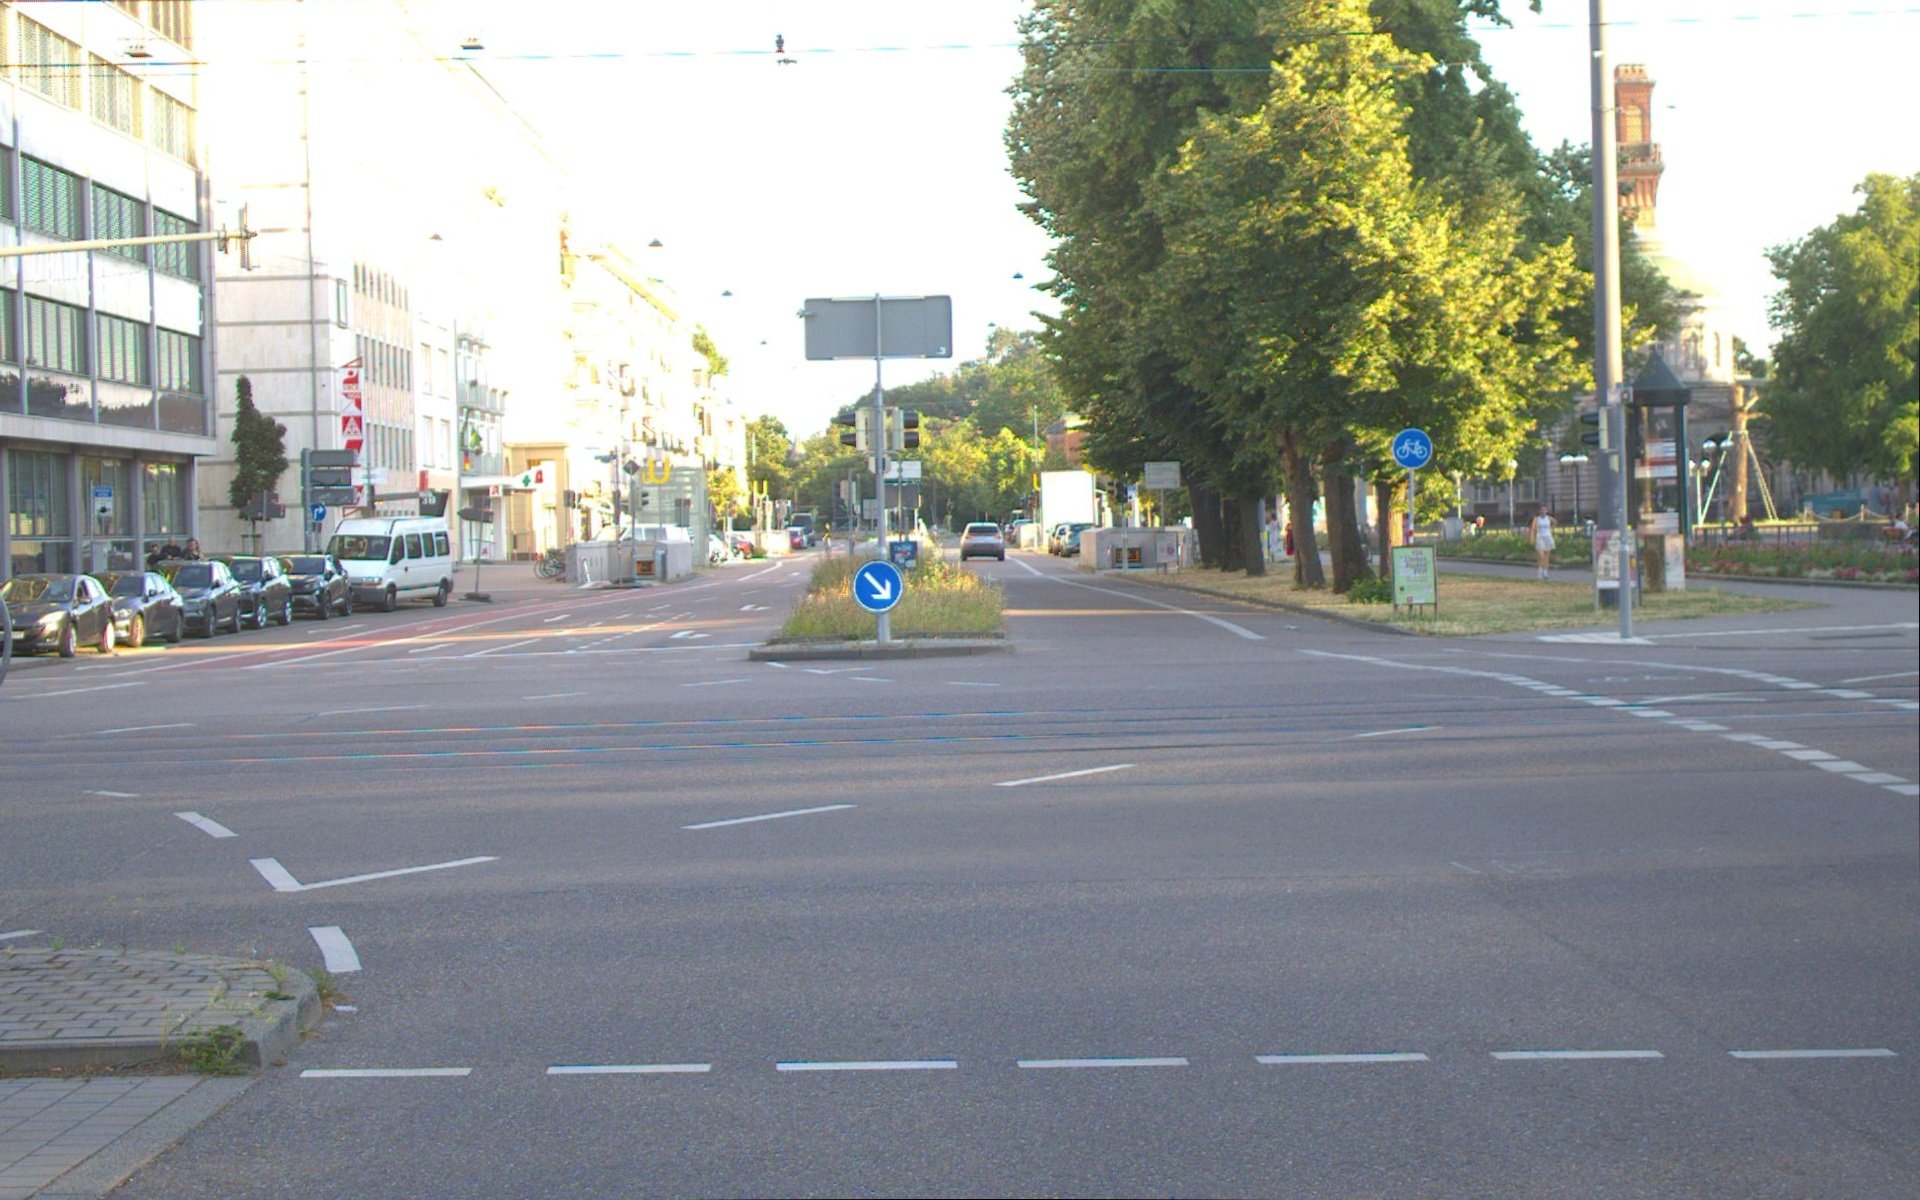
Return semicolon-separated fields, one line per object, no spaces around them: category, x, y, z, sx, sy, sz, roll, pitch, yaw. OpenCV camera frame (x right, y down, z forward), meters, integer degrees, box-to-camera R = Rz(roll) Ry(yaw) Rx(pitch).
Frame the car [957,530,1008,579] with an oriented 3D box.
car;0.934;-1.952;146.455;1.993;2.007;4.000;-2;1;-1

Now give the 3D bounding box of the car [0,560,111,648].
car;-16.699;0.093;62.063;1.796;1.470;4.000;-1;-1;-1

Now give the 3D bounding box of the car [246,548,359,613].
car;-16.223;-0.462;84.982;1.796;1.470;3.999;-2;-1;3

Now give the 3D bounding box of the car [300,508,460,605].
car;-15.394;-1.114;91.569;2.177;2.377;5.986;-2;-1;11

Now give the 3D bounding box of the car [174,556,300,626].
car;-16.494;-0.190;78.584;1.796;1.470;3.999;-2;-1;3

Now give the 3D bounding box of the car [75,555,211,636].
car;-16.201;-0.067;68.369;1.796;1.470;4.000;-1;-1;-1

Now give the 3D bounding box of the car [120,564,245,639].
car;-16.560;0.054;73.356;1.796;1.470;4.000;-1;-1;-1

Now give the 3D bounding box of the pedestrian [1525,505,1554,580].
pedestrian;13.085;-1.304;77.622;0.508;1.663;0.531;-1;1;-1

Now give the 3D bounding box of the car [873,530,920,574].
car;-2.769;-2.098;149.090;1.993;1.809;4.000;-2;1;-1
